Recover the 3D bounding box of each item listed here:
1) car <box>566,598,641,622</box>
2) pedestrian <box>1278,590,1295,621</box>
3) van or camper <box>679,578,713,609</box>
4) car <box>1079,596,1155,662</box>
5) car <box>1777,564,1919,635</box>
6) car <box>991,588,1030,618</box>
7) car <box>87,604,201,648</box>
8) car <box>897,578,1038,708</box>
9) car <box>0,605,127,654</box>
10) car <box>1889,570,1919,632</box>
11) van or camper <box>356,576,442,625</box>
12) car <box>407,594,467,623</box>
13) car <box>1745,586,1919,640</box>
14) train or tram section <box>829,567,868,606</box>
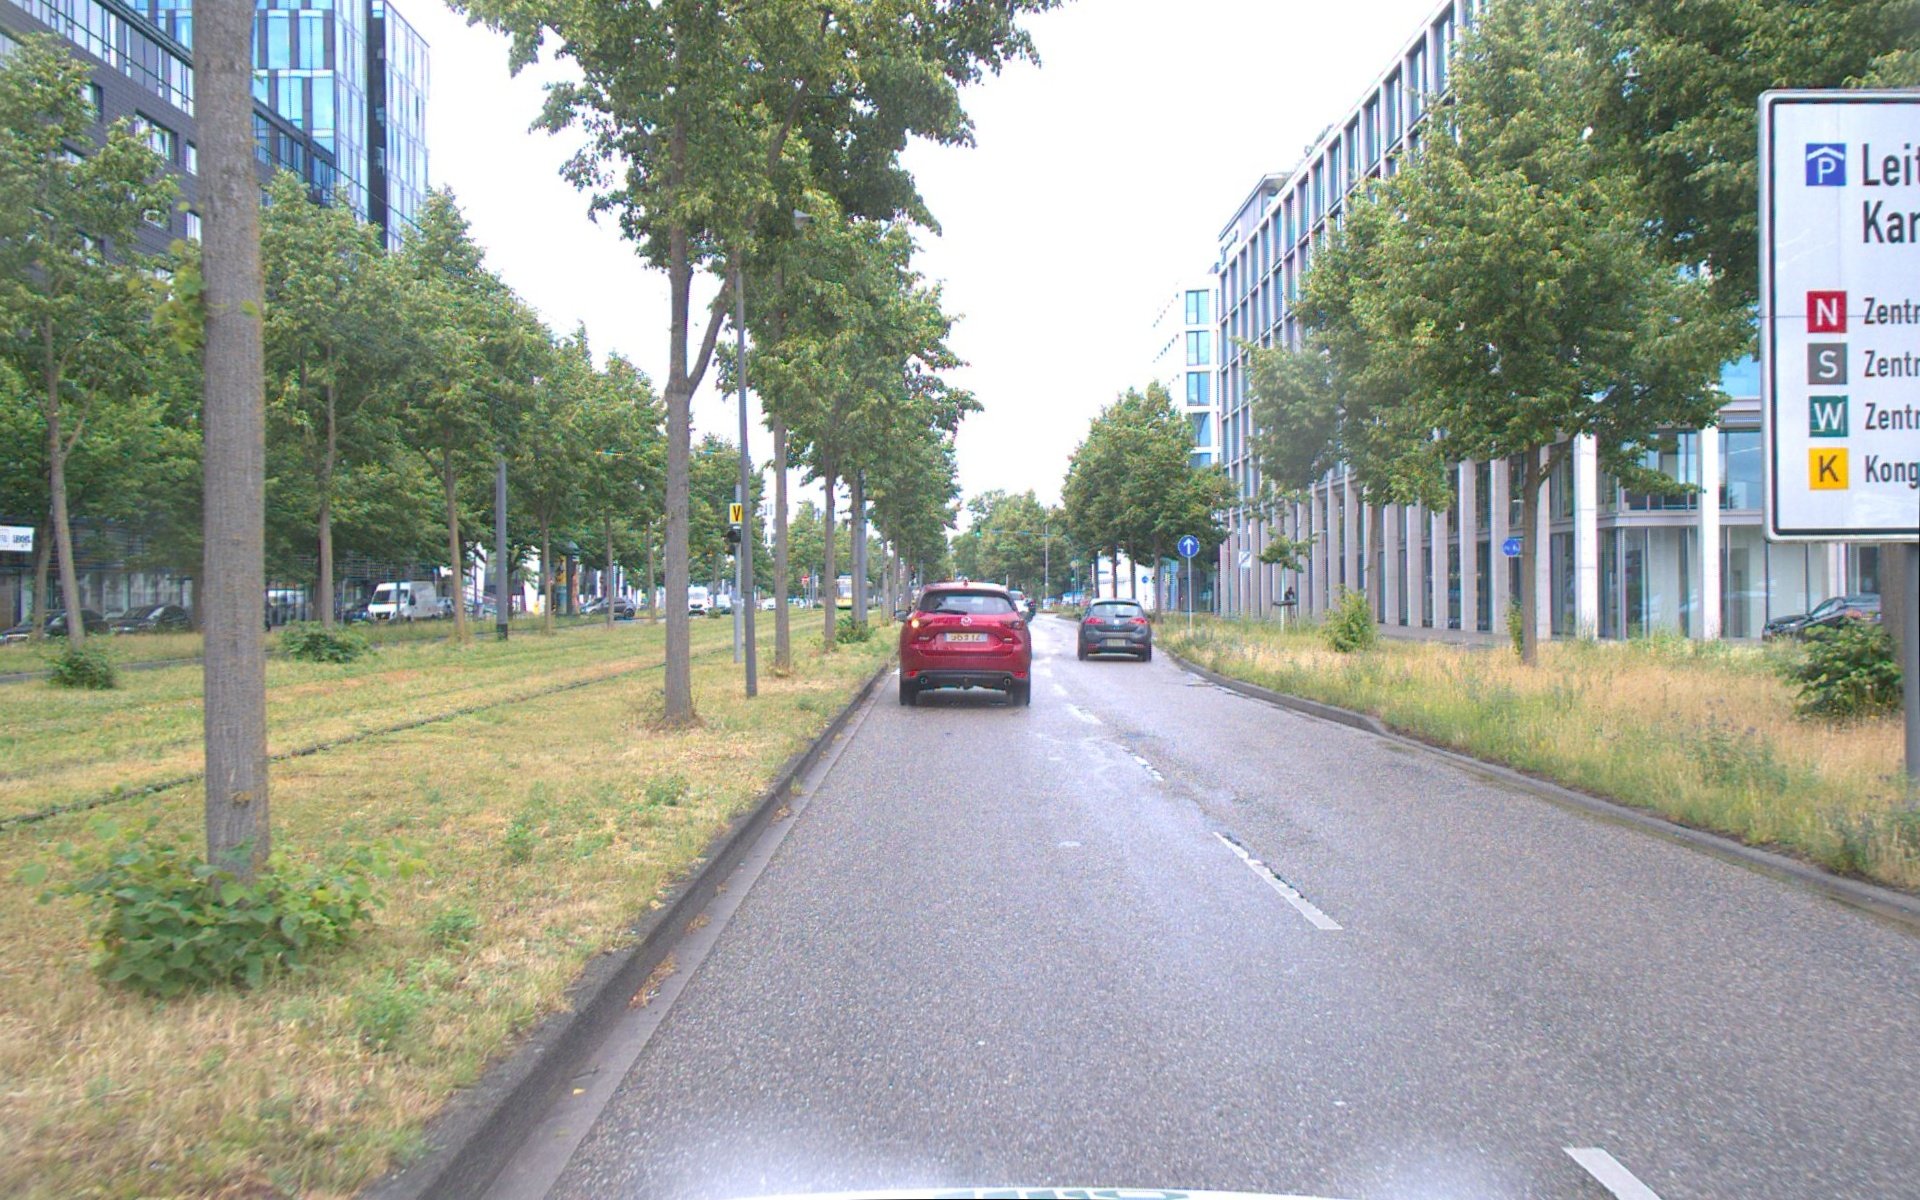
[{"bbox_3d":[-23.833,0.632,110.643,1.964,1.548,4.653,0,0,42],"label":"car"},{"bbox_3d":[18.350,0.297,93.010,0.702,1.744,0.861,-2,0,-1],"label":"pedestrian"},{"bbox_3d":[-21.862,-0.532,137.141,1.870,2.453,5.402,-1,0,0],"label":"van or camper"},{"bbox_3d":[3.736,0.660,39.919,1.707,1.490,3.783,0,0,4],"label":"car"},{"bbox_3d":[21.274,-0.025,39.611,1.815,1.608,4.003,0,0,7],"label":"car"},{"bbox_3d":[2.577,0.129,85.799,1.927,1.462,4.553,1,0,1],"label":"car"},{"bbox_3d":[-28.062,0.873,57.012,1.953,1.402,3.999,0,0,-1],"label":"car"},{"bbox_3d":[0.061,0.555,23.734,1.860,1.706,3.999,0,0,-1],"label":"car"},{"bbox_3d":[-27.585,0.880,50.841,1.953,1.402,3.999,0,0,-1],"label":"car"},{"bbox_3d":[23.992,0.021,39.097,1.816,1.480,4.560,0,0,5],"label":"car"},{"bbox_3d":[-28.366,0.002,83.883,2.383,2.356,5.849,0,0,-1],"label":"van or camper"},{"bbox_3d":[-28.370,0.448,89.861,1.953,1.548,4.605,0,0,-2],"label":"car"},{"bbox_3d":[25.539,0.359,48.516,4.129,1.463,1.982,0,2,4],"label":"car"},{"bbox_3d":[-11.060,-1.350,164.755,3.065,3.723,13.404,0,0,-1],"label":"train or tram section"}]
